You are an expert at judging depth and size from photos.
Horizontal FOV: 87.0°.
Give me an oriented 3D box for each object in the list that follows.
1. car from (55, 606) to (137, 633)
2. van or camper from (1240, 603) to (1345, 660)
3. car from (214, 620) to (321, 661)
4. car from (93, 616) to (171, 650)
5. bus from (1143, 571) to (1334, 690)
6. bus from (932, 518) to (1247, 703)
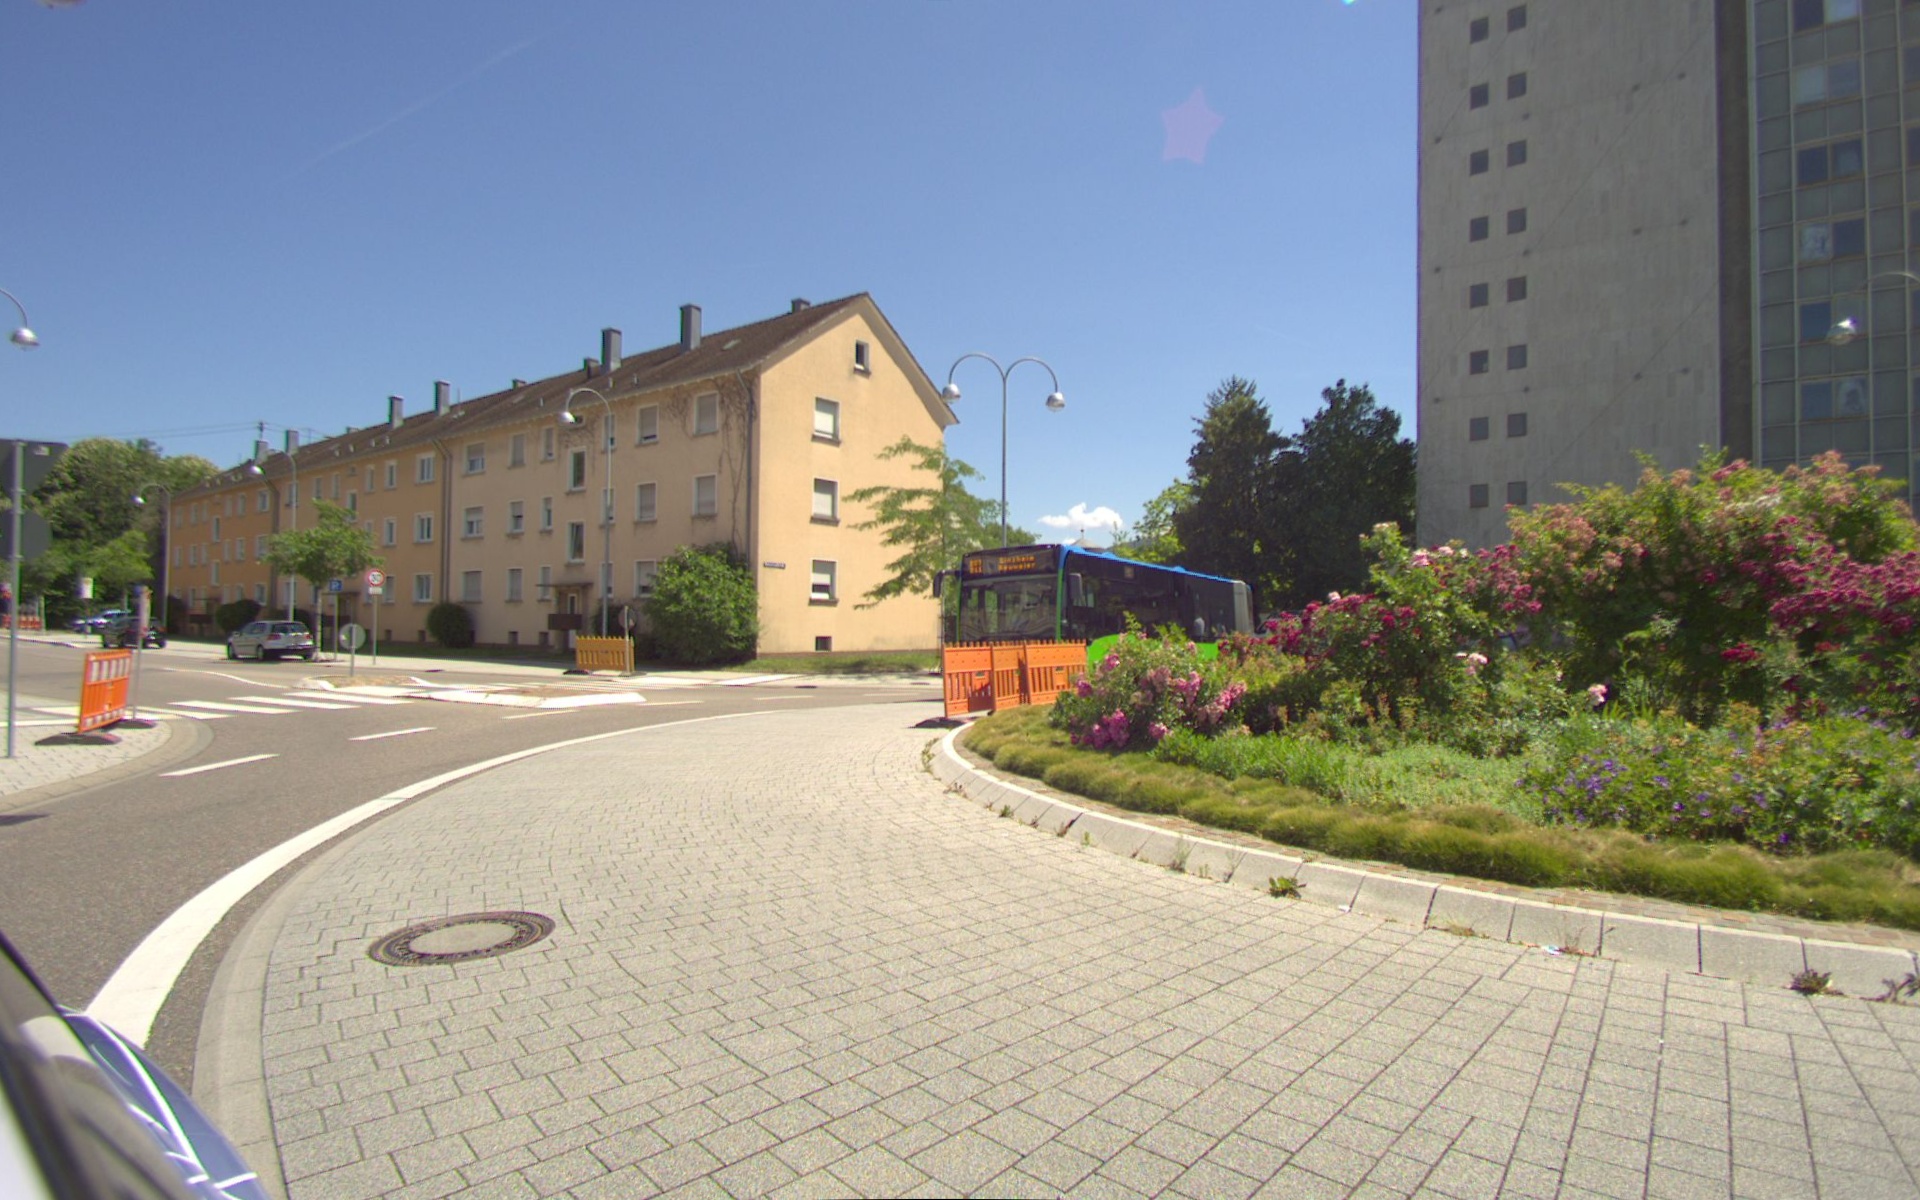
[{"bbox_3d":[-65.383,1.430,76.647,1.810,1.888,4.396,0,0,28],"label":"car"},{"bbox_3d":[13.742,1.334,42.234,1.969,2.188,5.420,-1,-2,-7],"label":"van or camper"},{"bbox_3d":[-26.217,1.506,38.306,4.077,1.431,1.977,-1,0,34],"label":"car"},{"bbox_3d":[-39.404,1.534,48.117,4.554,1.518,1.840,-1,0,37],"label":"car"},{"bbox_3d":[8.860,0.864,31.225,2.824,3.134,8.817,-3,-2,35],"label":"bus"},{"bbox_3d":[3.473,0.488,23.324,2.956,3.350,9.967,-4,-5,34],"label":"bus"}]
